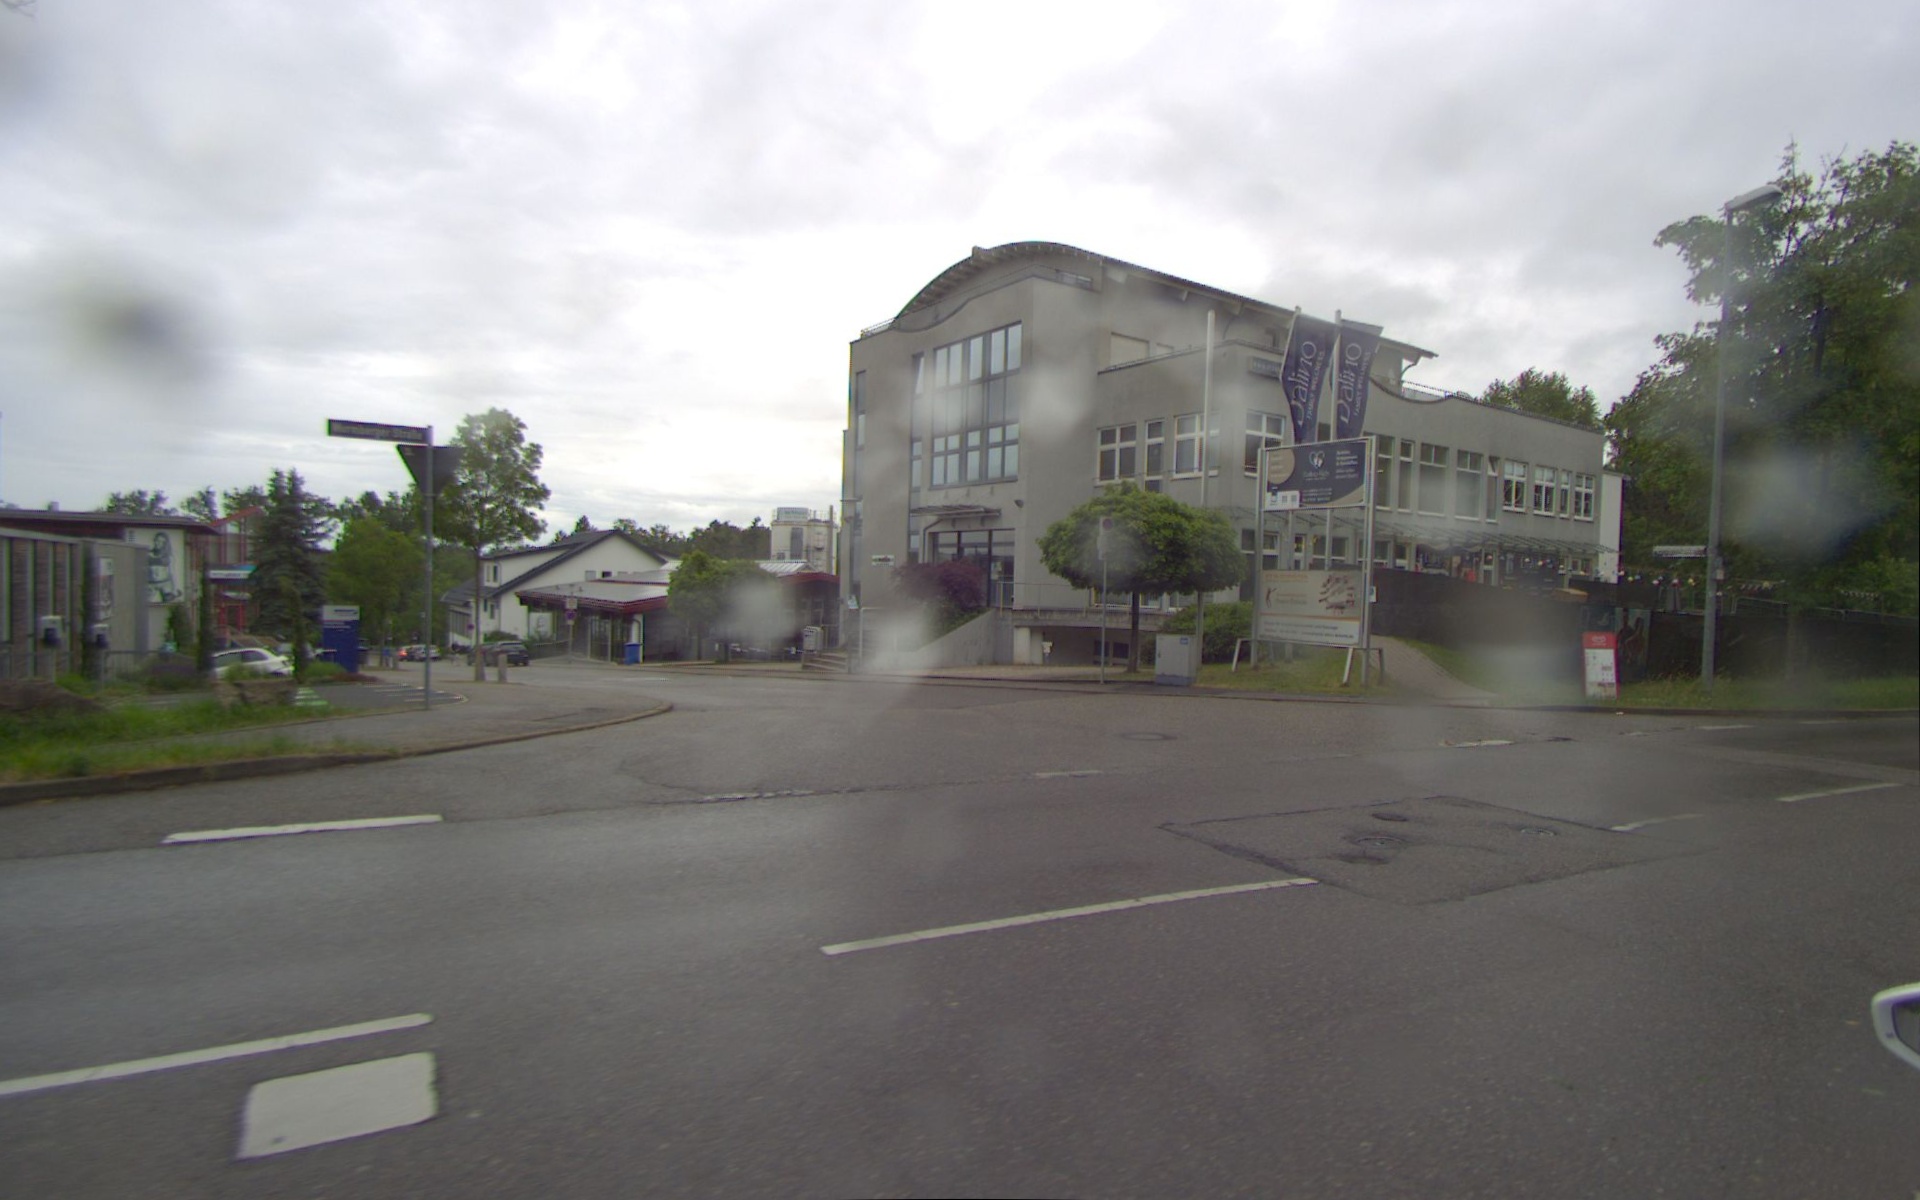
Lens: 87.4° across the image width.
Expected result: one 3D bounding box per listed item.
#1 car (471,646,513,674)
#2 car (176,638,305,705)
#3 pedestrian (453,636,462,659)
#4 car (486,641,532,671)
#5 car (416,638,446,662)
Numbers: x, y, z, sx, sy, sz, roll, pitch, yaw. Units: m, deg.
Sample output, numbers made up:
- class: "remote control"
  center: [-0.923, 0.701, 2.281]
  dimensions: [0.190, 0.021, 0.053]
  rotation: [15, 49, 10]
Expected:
- class: "car"
  center: [-30.028, 3.809, 64.389]
  dimensions: [1.792, 1.599, 3.961]
  rotation: [1, -1, -35]
- class: "car"
  center: [-23.204, 2.256, 32.529]
  dimensions: [3.169, 1.574, 1.493]
  rotation: [-10, 4, -34]
- class: "pedestrian"
  center: [-32.945, 3.107, 65.821]
  dimensions: [0.405, 1.541, 0.417]
  rotation: [1, -1, -38]
- class: "car"
  center: [-26.541, 3.246, 59.032]
  dimensions: [1.792, 1.599, 3.961]
  rotation: [2, -1, -35]
- class: "car"
  center: [-49.075, 4.621, 93.150]
  dimensions: [1.980, 2.040, 3.961]
  rotation: [2, -1, -35]
